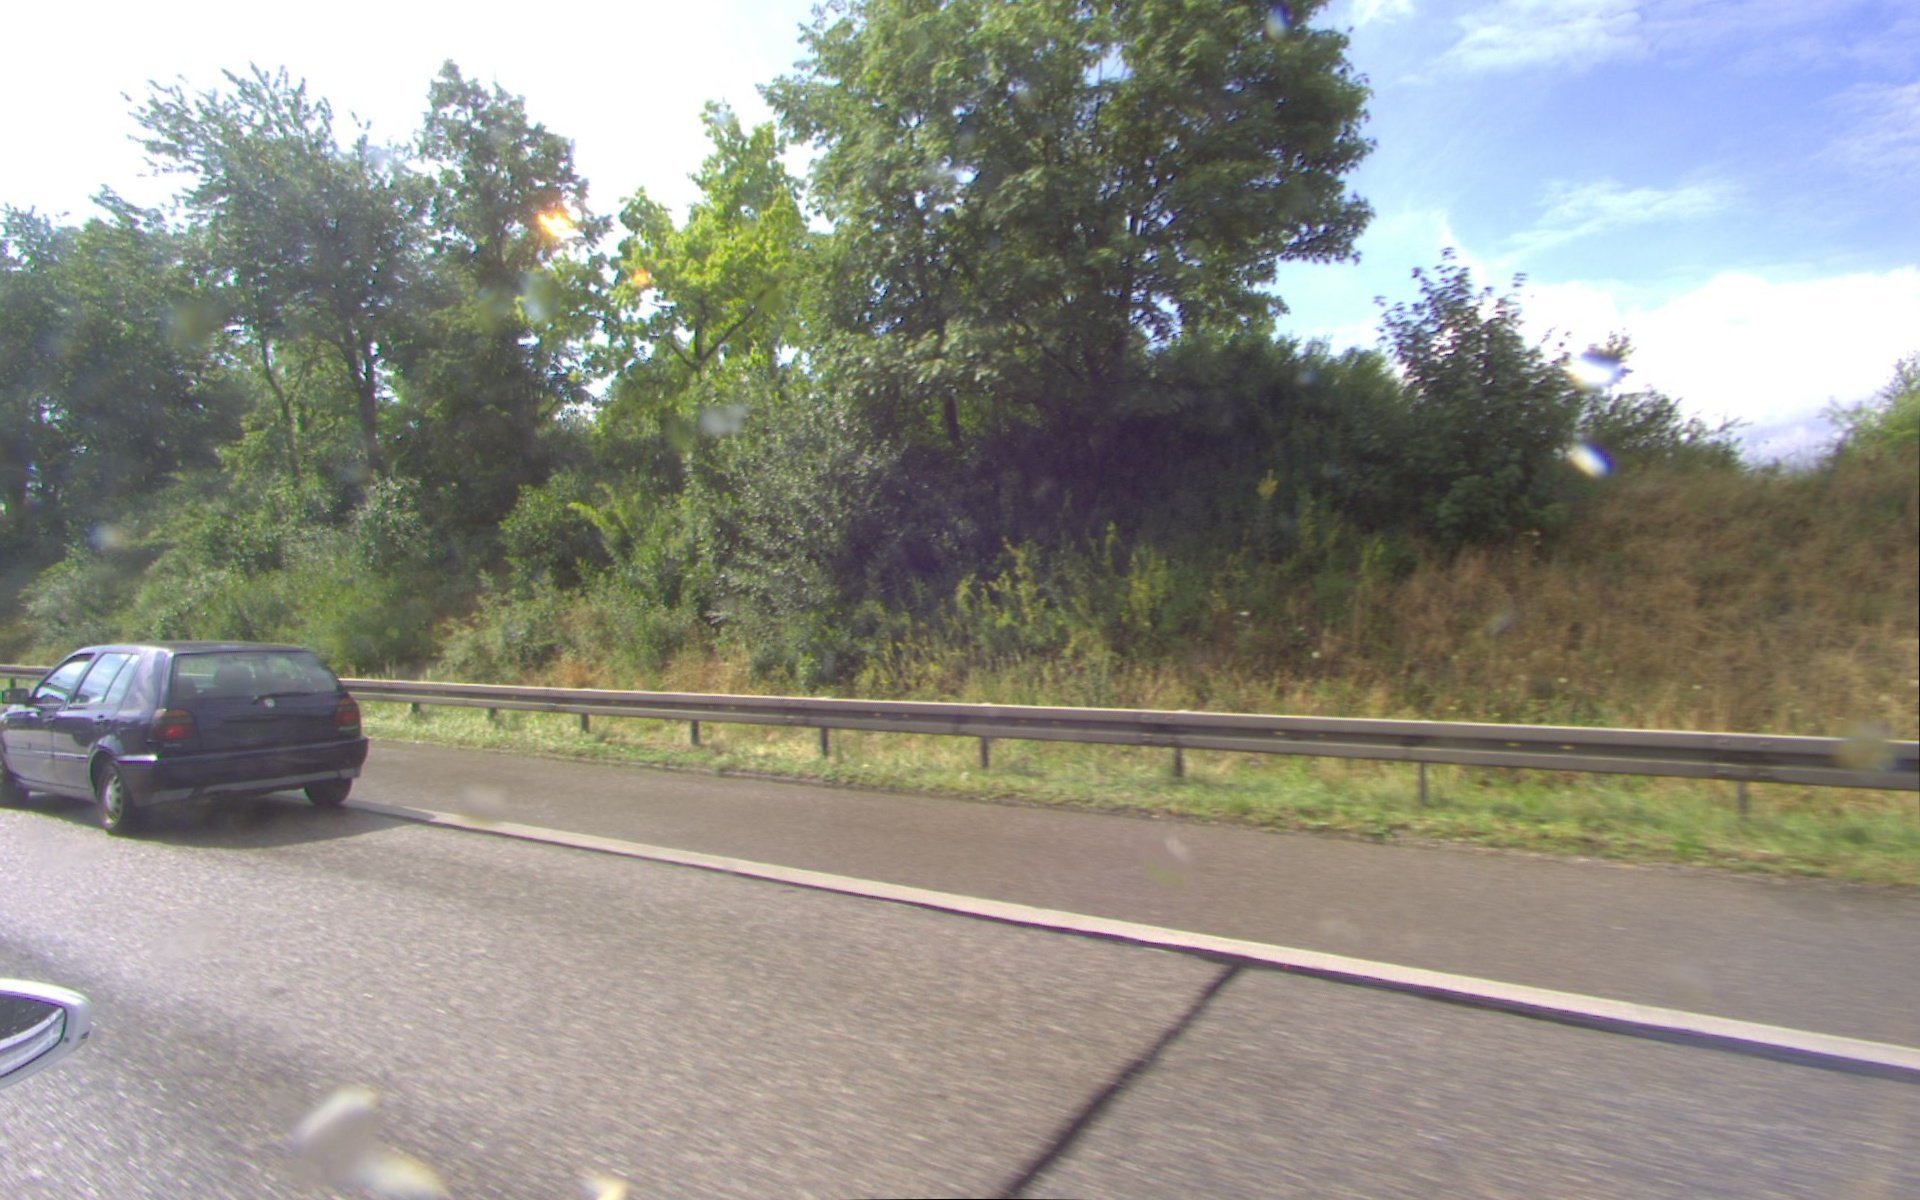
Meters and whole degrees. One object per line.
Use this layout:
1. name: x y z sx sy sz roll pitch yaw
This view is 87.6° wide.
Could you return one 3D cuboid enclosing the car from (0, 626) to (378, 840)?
1. car: -6.840 0.966 8.599 3.690 1.475 1.648 -1 -1 31
